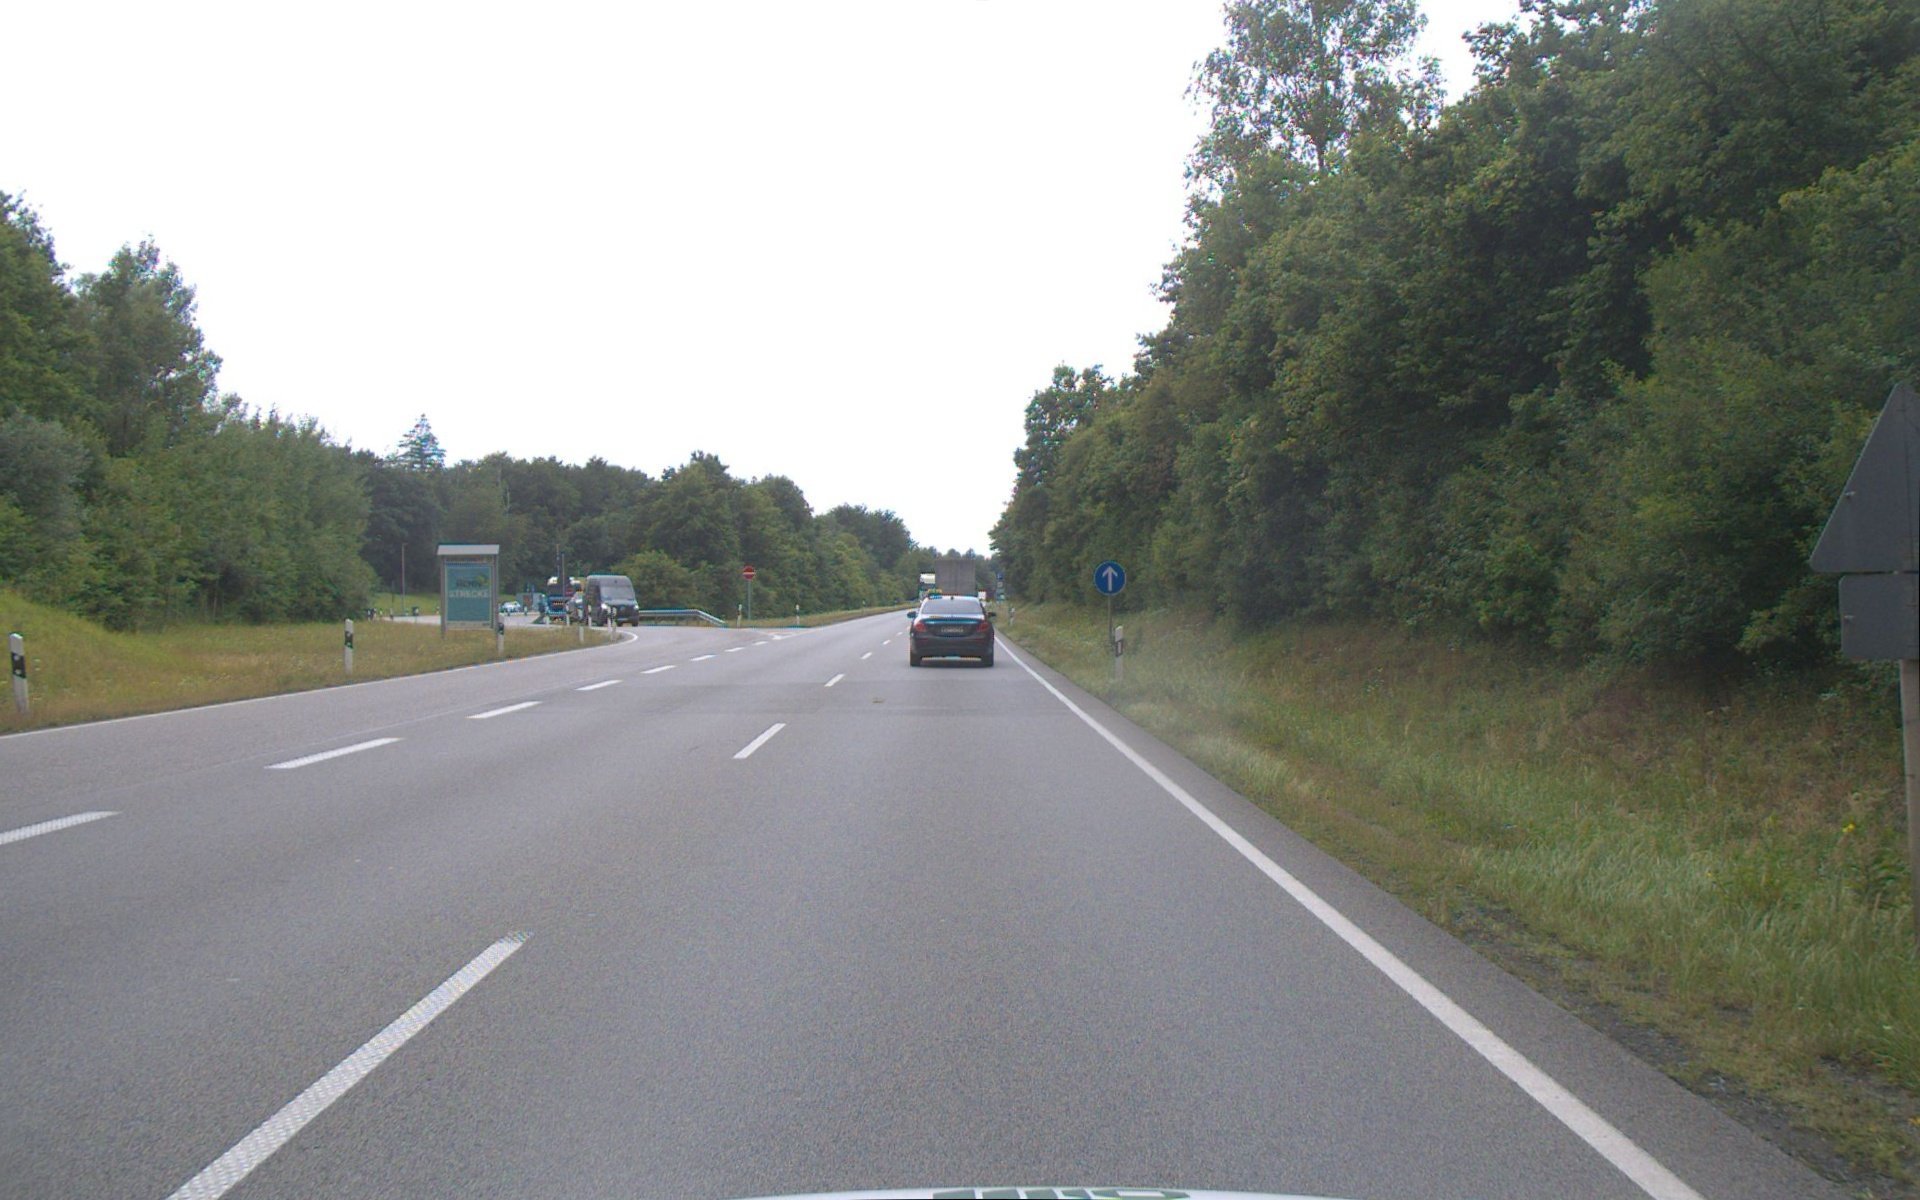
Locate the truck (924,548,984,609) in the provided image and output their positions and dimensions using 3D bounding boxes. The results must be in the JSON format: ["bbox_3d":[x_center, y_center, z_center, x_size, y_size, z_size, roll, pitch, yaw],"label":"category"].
[{"bbox_3d":[-0.308,-1.295,106.631,3.212,3.675,11.404,1,0,3],"label":"truck"}]

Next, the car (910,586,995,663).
[{"bbox_3d":[-0.192,0.509,36.232,1.755,1.579,3.999,1,0,-1],"label":"car"}]

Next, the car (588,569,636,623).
[{"bbox_3d":[-17.966,-0.196,85.384,2.216,2.574,7.142,-2,0,-12],"label":"car"}]

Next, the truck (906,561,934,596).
[{"bbox_3d":[-4.780,-2.548,201.205,3.124,4.133,9.575,1,0,0],"label":"truck"}]

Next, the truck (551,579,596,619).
[{"bbox_3d":[-30.864,-0.059,132.356,1.953,3.065,7.226,1,0,0],"label":"truck"}]
